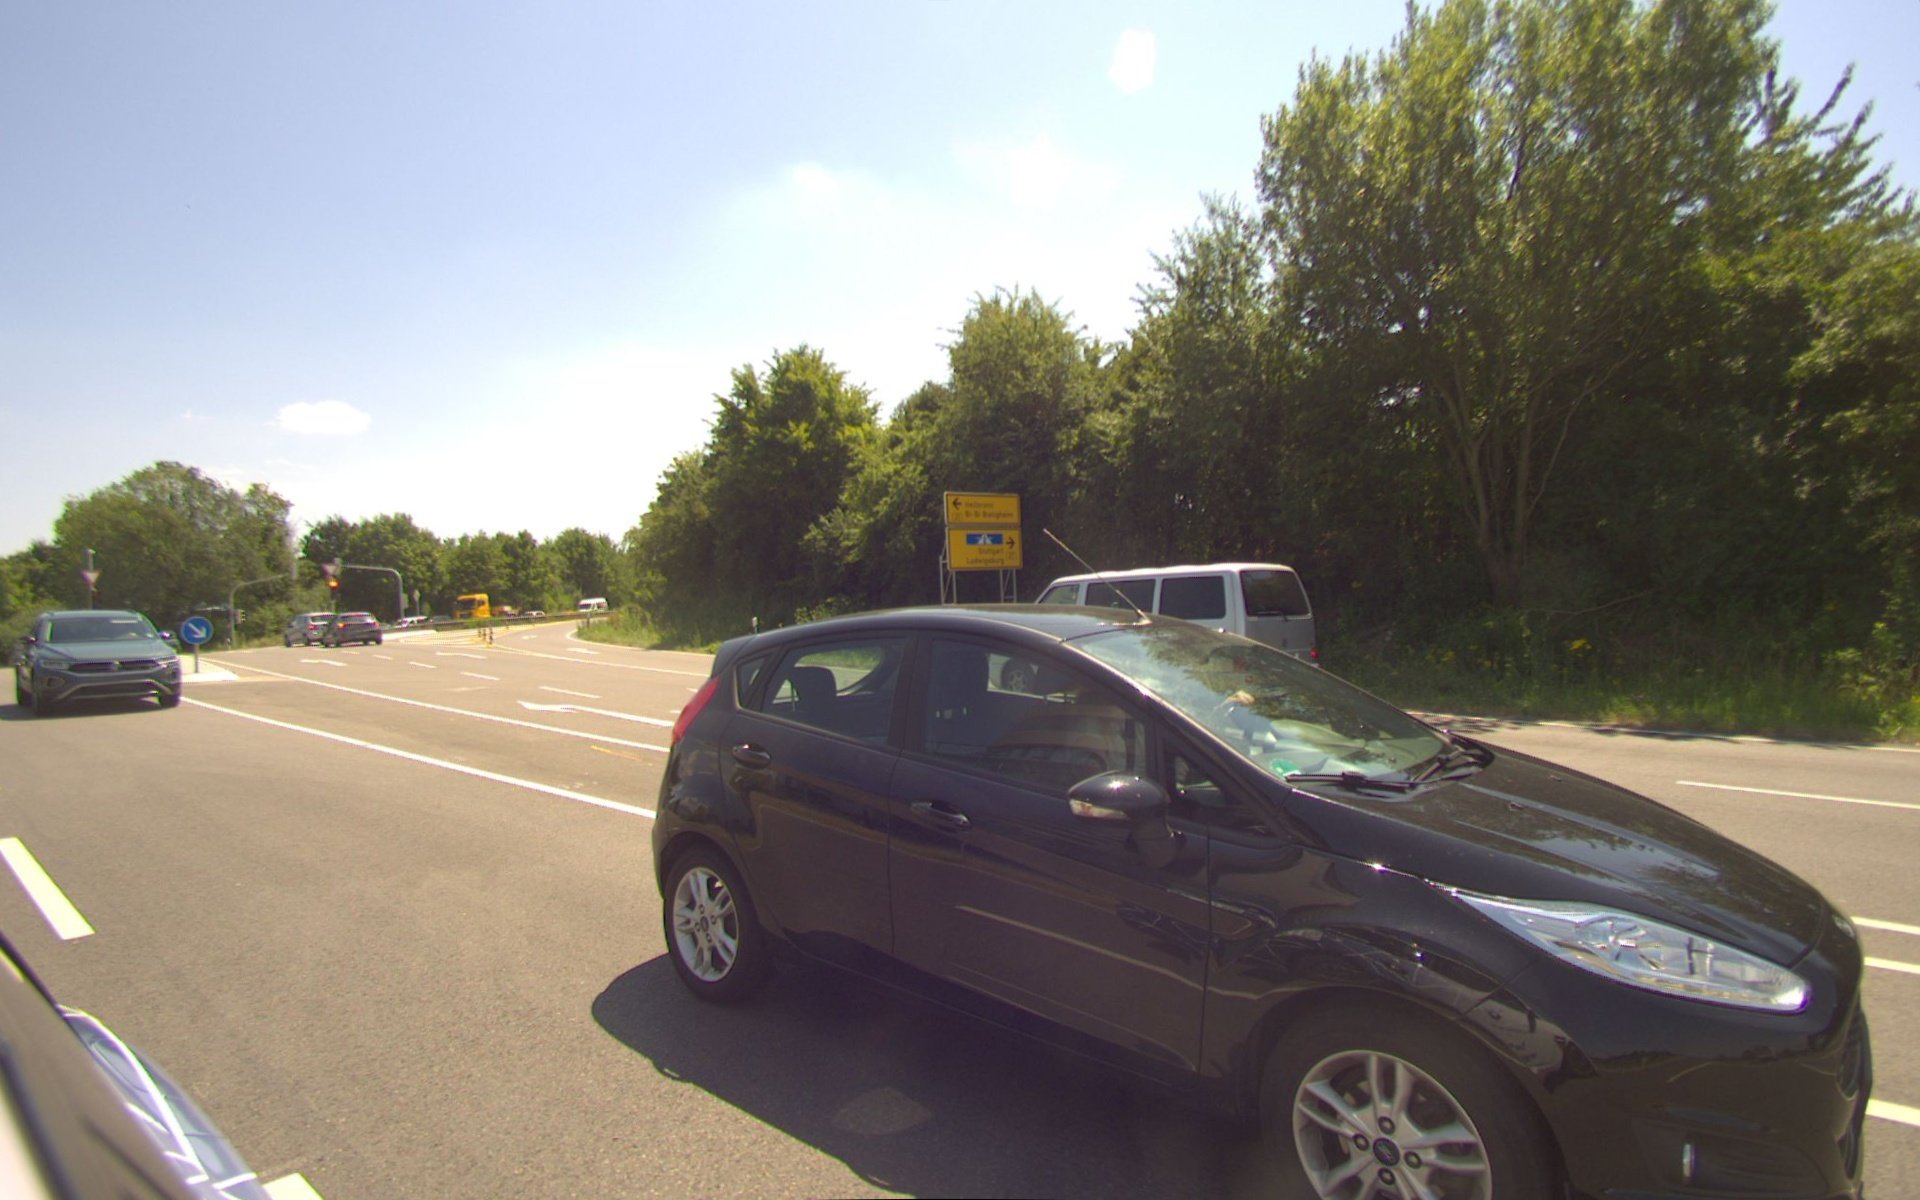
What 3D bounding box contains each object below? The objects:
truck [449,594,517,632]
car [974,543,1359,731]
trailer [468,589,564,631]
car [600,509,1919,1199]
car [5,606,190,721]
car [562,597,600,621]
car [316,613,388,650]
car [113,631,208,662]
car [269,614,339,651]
[{"bbox_3d":[-49.653,1.302,105.612,2.953,3.564,6.838,-4,1,9],"label":"truck"},{"bbox_3d":[2.560,0.463,13.679,1.949,2.028,4.848,-5,1,-40],"label":"car"},{"bbox_3d":[-48.758,0.941,111.882,3.038,4.093,13.140,-4,1,8],"label":"trailer"},{"bbox_3d":[0.663,0.658,3.271,4.207,1.505,1.635,-3,0,43],"label":"car"},{"bbox_3d":[-14.073,0.937,16.429,4.391,1.598,1.814,-1,0,43],"label":"car"},{"bbox_3d":[-46.378,1.083,124.042,2.141,2.626,5.475,-4,1,3],"label":"car"},{"bbox_3d":[-26.901,1.416,44.742,1.969,1.449,4.228,-4,1,-41],"label":"car"},{"bbox_3d":[-48.014,2.761,60.913,2.090,1.603,4.448,-1,0,2],"label":"car"},{"bbox_3d":[-32.573,1.634,50.219,4.349,1.611,1.593,-4,1,39],"label":"car"}]
